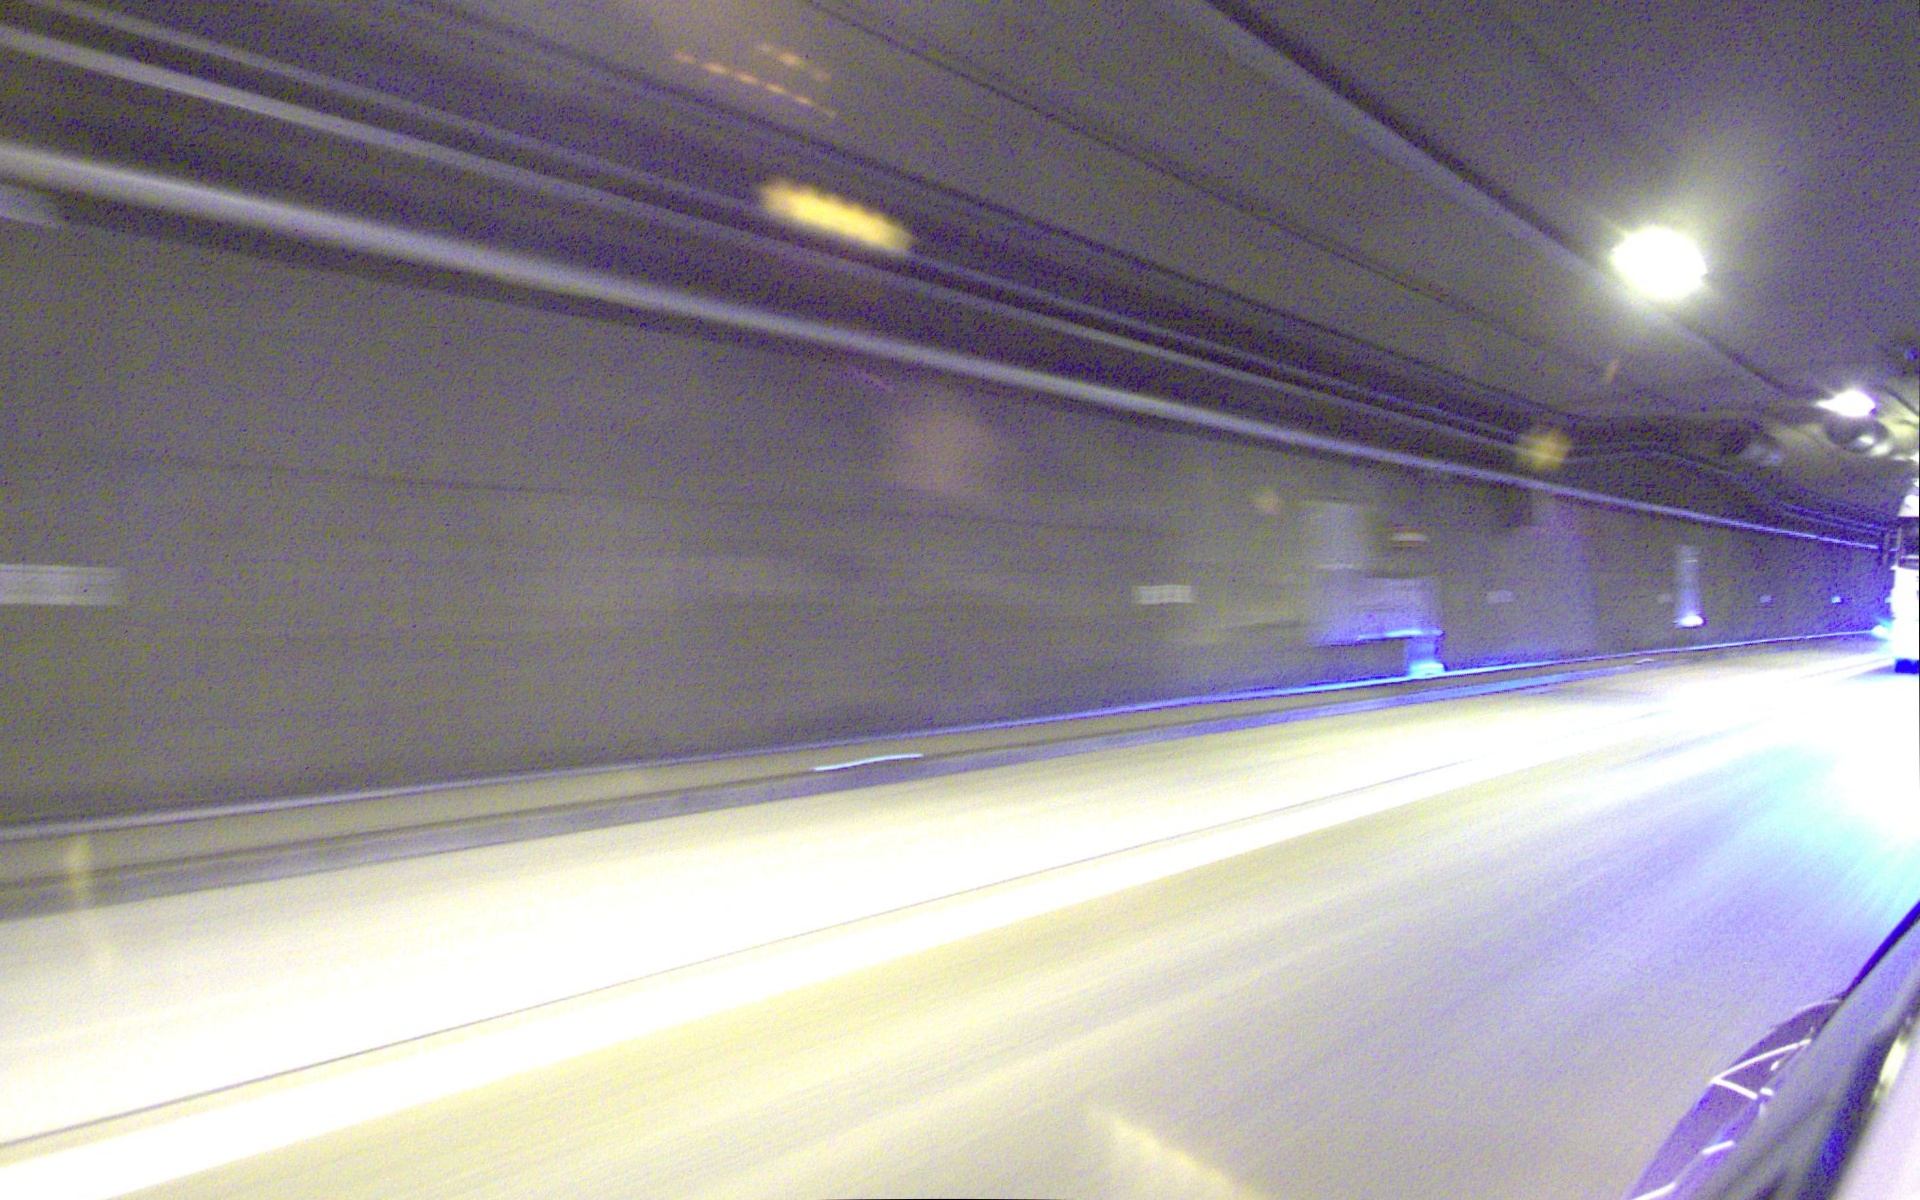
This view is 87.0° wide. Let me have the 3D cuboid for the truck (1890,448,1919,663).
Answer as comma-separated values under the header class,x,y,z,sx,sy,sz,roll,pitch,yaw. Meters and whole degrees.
class,x,y,z,sx,sy,sz,roll,pitch,yaw
truck,21.649,-0.881,20.978,5.897,4.216,2.652,0,0,-39
